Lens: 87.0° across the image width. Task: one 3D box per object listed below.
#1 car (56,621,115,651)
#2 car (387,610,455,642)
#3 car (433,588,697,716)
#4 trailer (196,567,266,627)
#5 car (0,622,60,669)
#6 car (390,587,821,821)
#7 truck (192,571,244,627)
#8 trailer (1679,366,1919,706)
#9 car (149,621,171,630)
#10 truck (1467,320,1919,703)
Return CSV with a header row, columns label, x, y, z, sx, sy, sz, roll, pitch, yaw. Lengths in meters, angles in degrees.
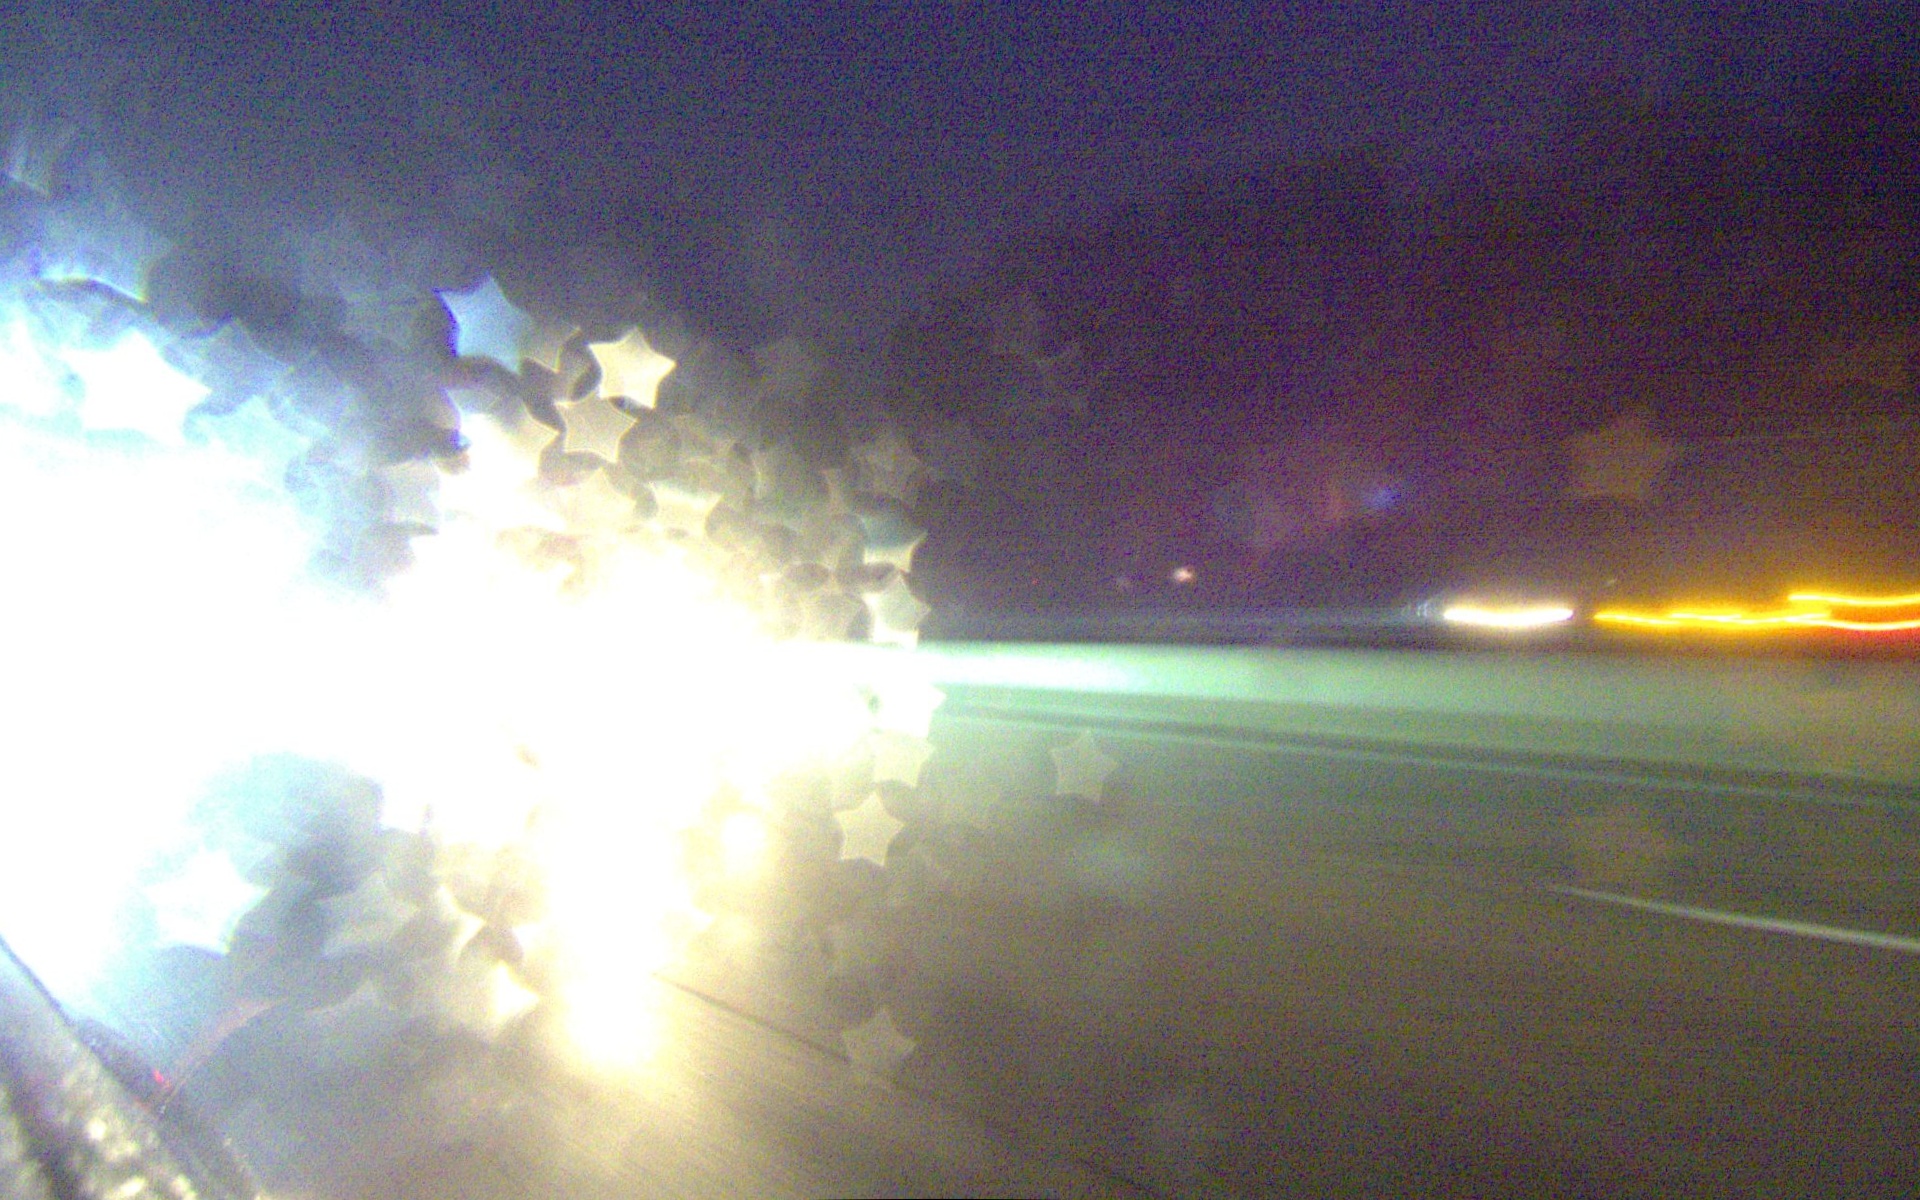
label,x,y,z,sx,sy,sz,roll,pitch,yaw
car,-51.945,2.120,60.062,3.872,1.621,2.279,-1,1,44
car,-30.135,1.432,56.584,4.252,1.655,1.973,-1,1,41
car,-6.649,0.761,16.774,4.883,1.790,1.973,-1,1,40
trailer,-82.100,-0.238,113.776,14.411,6.171,3.425,-1,4,44
car,-37.375,1.780,40.336,4.002,1.689,1.971,-1,1,45
car,-3.357,0.736,9.142,4.233,1.606,1.895,-1,0,43
truck,-86.783,-0.122,118.293,6.174,6.171,3.425,-1,4,44
trailer,19.616,-1.123,15.397,13.742,5.485,4.124,-1,1,42
car,-107.849,3.473,136.398,3.657,1.164,1.685,-1,1,41
truck,14.576,-1.436,19.901,7.342,6.174,4.124,-1,1,42
